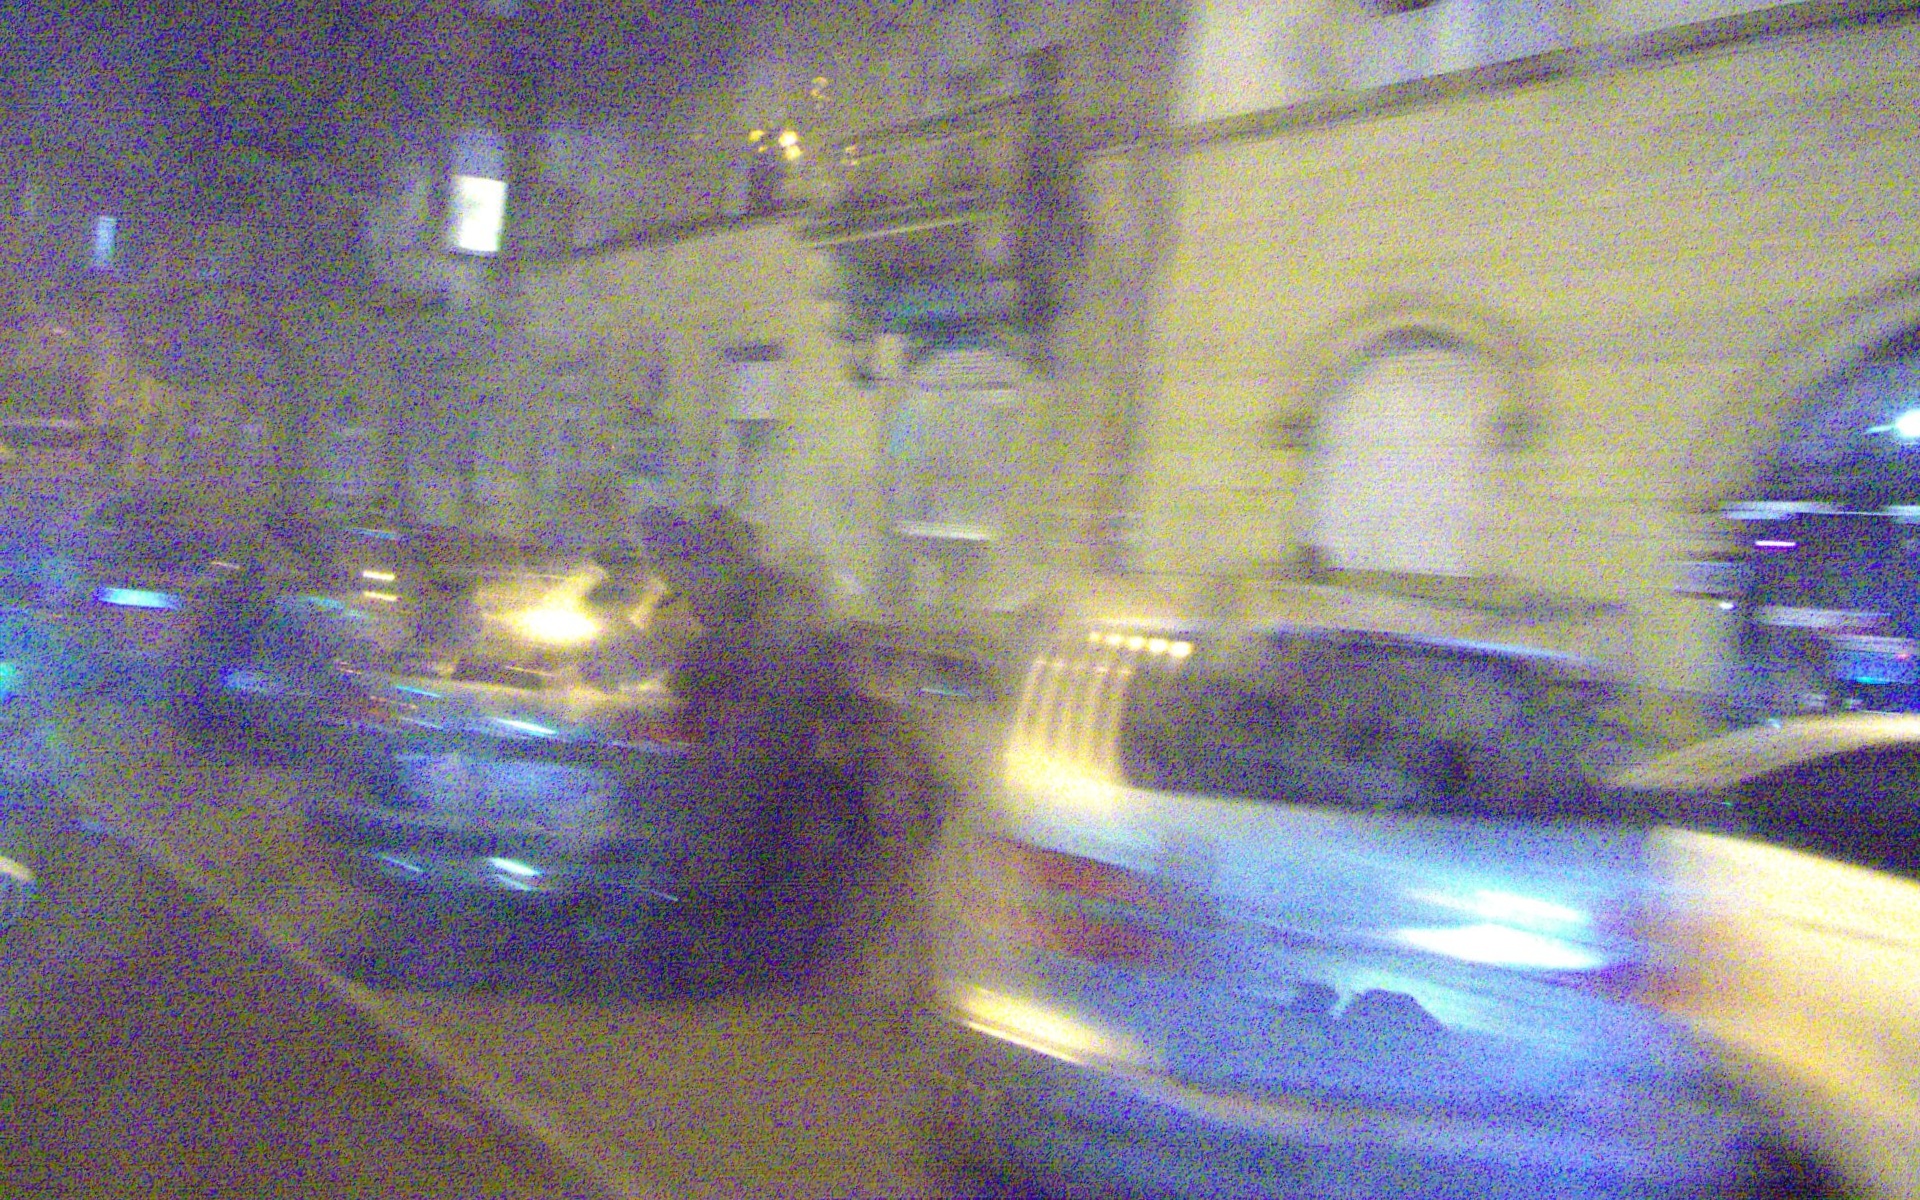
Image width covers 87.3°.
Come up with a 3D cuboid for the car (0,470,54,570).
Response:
[{"bbox_3d":[-17.117,-1.437,15.915,1.737,1.666,4.182,7,1,-2],"label":"car"}]

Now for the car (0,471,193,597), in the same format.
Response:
[{"bbox_3d":[-13.564,-0.989,14.527,1.737,1.666,4.182,7,1,-2],"label":"car"}]

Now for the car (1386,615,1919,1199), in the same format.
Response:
[{"bbox_3d":[3.021,0.950,2.614,1.823,1.476,4.182,7,1,-1],"label":"car"}]

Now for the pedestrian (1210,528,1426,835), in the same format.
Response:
[{"bbox_3d":[2.519,0.535,7.054,0.984,1.905,0.957,7,1,37],"label":"pedestrian"}]

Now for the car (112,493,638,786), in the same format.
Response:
[{"bbox_3d":[-4.007,0.192,7.832,1.631,1.494,4.182,7,1,-2],"label":"car"}]

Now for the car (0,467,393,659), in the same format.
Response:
[{"bbox_3d":[-8.613,-0.383,10.896,1.736,1.666,4.184,7,1,16],"label":"car"}]

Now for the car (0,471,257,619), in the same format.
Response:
[{"bbox_3d":[-11.413,-0.704,12.462,1.736,1.666,4.184,7,1,16],"label":"car"}]

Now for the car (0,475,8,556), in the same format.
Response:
[{"bbox_3d":[-20.550,-1.800,18.672,1.737,1.666,4.182,7,1,-2],"label":"car"}]

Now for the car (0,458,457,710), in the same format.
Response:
[{"bbox_3d":[-6.486,-0.165,9.386,1.632,1.666,4.180,6,1,-5],"label":"car"}]

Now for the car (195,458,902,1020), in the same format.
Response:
[{"bbox_3d":[-1.467,0.425,5.322,1.698,1.611,4.184,7,1,3],"label":"car"}]

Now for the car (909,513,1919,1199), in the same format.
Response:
[{"bbox_3d":[0.854,0.705,3.988,1.847,1.597,4.182,7,1,-1],"label":"car"}]

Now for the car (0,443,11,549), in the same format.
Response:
[{"bbox_3d":[-23.117,-2.472,20.828,2.100,2.422,5.005,6,1,-2],"label":"car"}]
